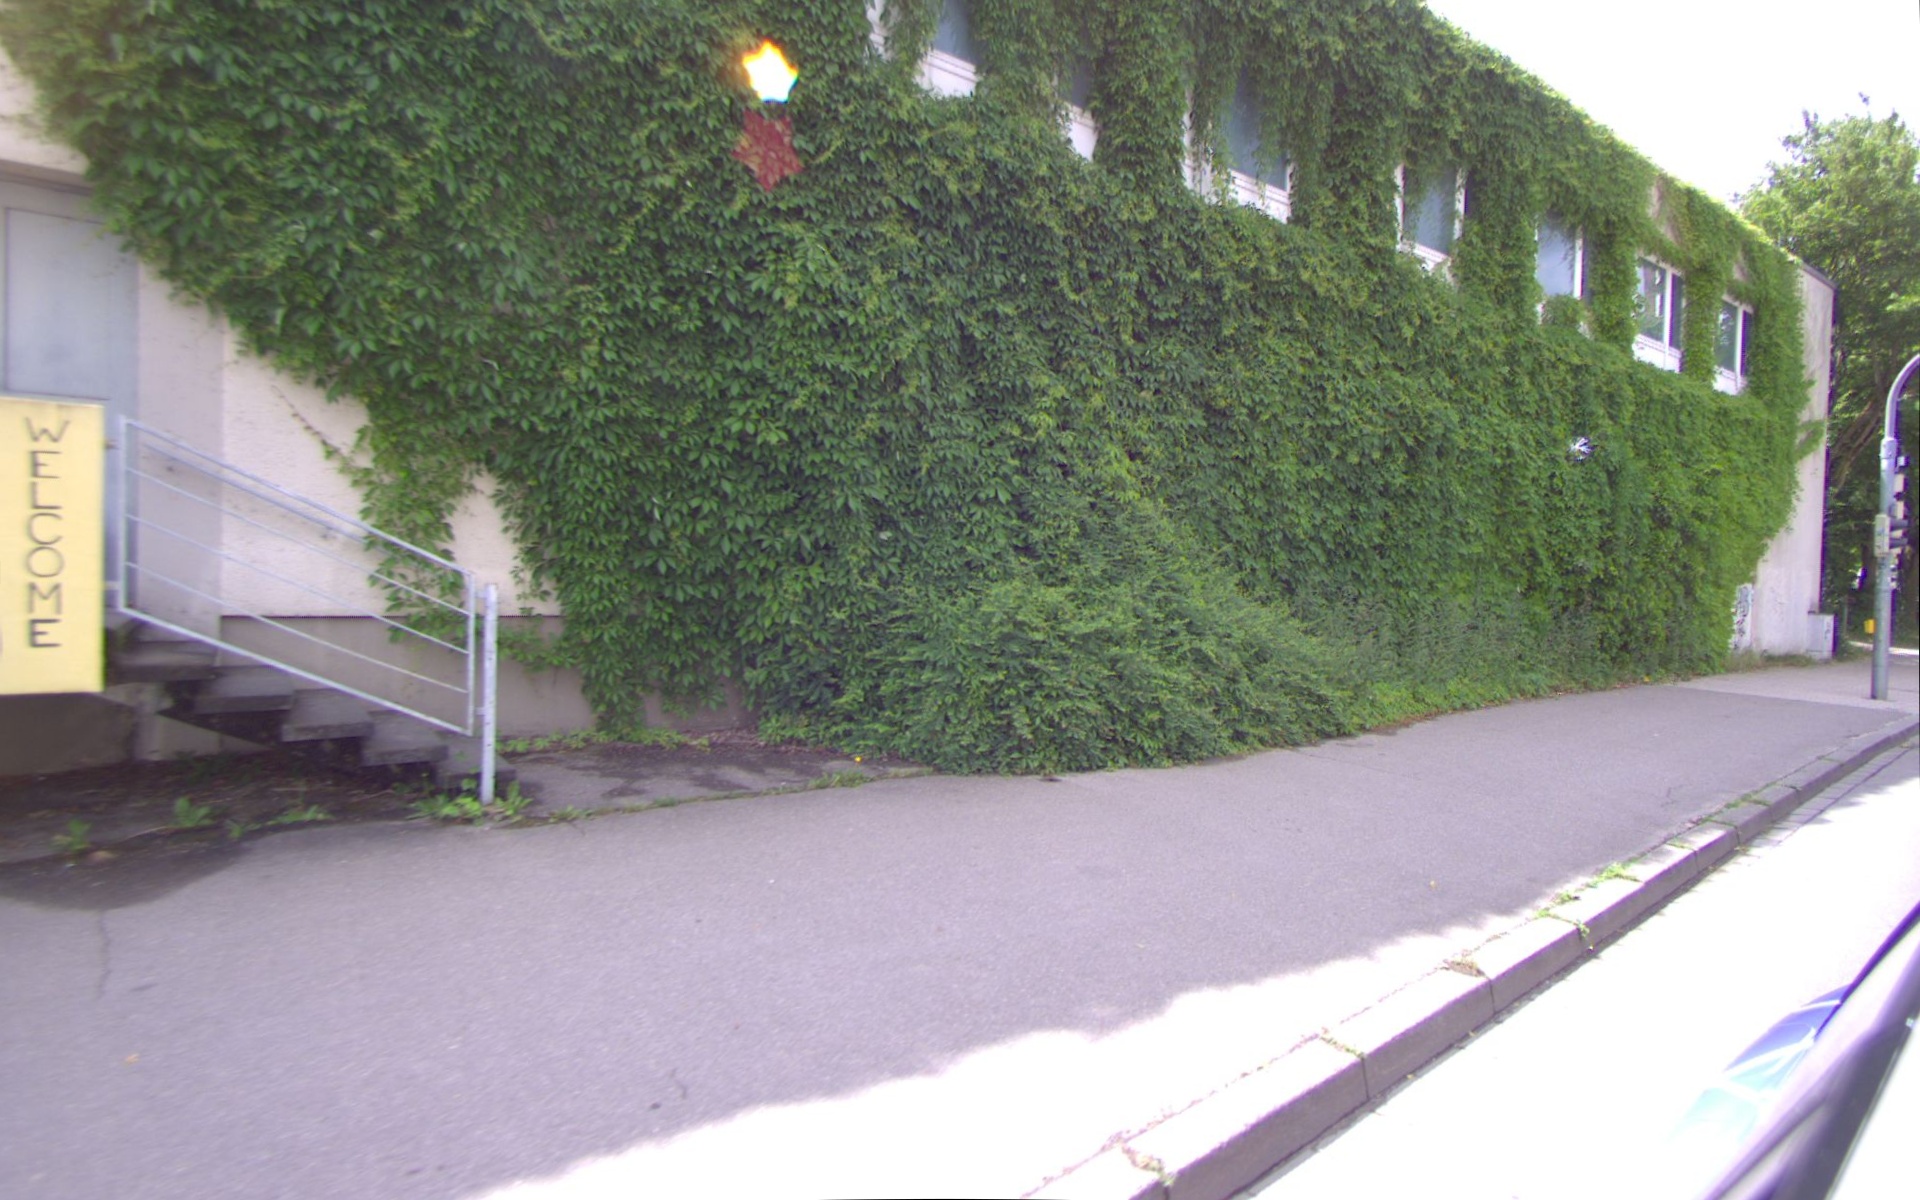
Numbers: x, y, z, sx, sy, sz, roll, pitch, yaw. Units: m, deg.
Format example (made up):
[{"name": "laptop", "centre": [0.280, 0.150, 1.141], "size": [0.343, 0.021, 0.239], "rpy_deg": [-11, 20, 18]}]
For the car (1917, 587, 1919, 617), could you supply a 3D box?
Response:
[{"name": "car", "centre": [53.378, 0.121, 54.943], "size": [4.153, 1.561, 1.754], "rpy_deg": [0, 1, -42]}]
